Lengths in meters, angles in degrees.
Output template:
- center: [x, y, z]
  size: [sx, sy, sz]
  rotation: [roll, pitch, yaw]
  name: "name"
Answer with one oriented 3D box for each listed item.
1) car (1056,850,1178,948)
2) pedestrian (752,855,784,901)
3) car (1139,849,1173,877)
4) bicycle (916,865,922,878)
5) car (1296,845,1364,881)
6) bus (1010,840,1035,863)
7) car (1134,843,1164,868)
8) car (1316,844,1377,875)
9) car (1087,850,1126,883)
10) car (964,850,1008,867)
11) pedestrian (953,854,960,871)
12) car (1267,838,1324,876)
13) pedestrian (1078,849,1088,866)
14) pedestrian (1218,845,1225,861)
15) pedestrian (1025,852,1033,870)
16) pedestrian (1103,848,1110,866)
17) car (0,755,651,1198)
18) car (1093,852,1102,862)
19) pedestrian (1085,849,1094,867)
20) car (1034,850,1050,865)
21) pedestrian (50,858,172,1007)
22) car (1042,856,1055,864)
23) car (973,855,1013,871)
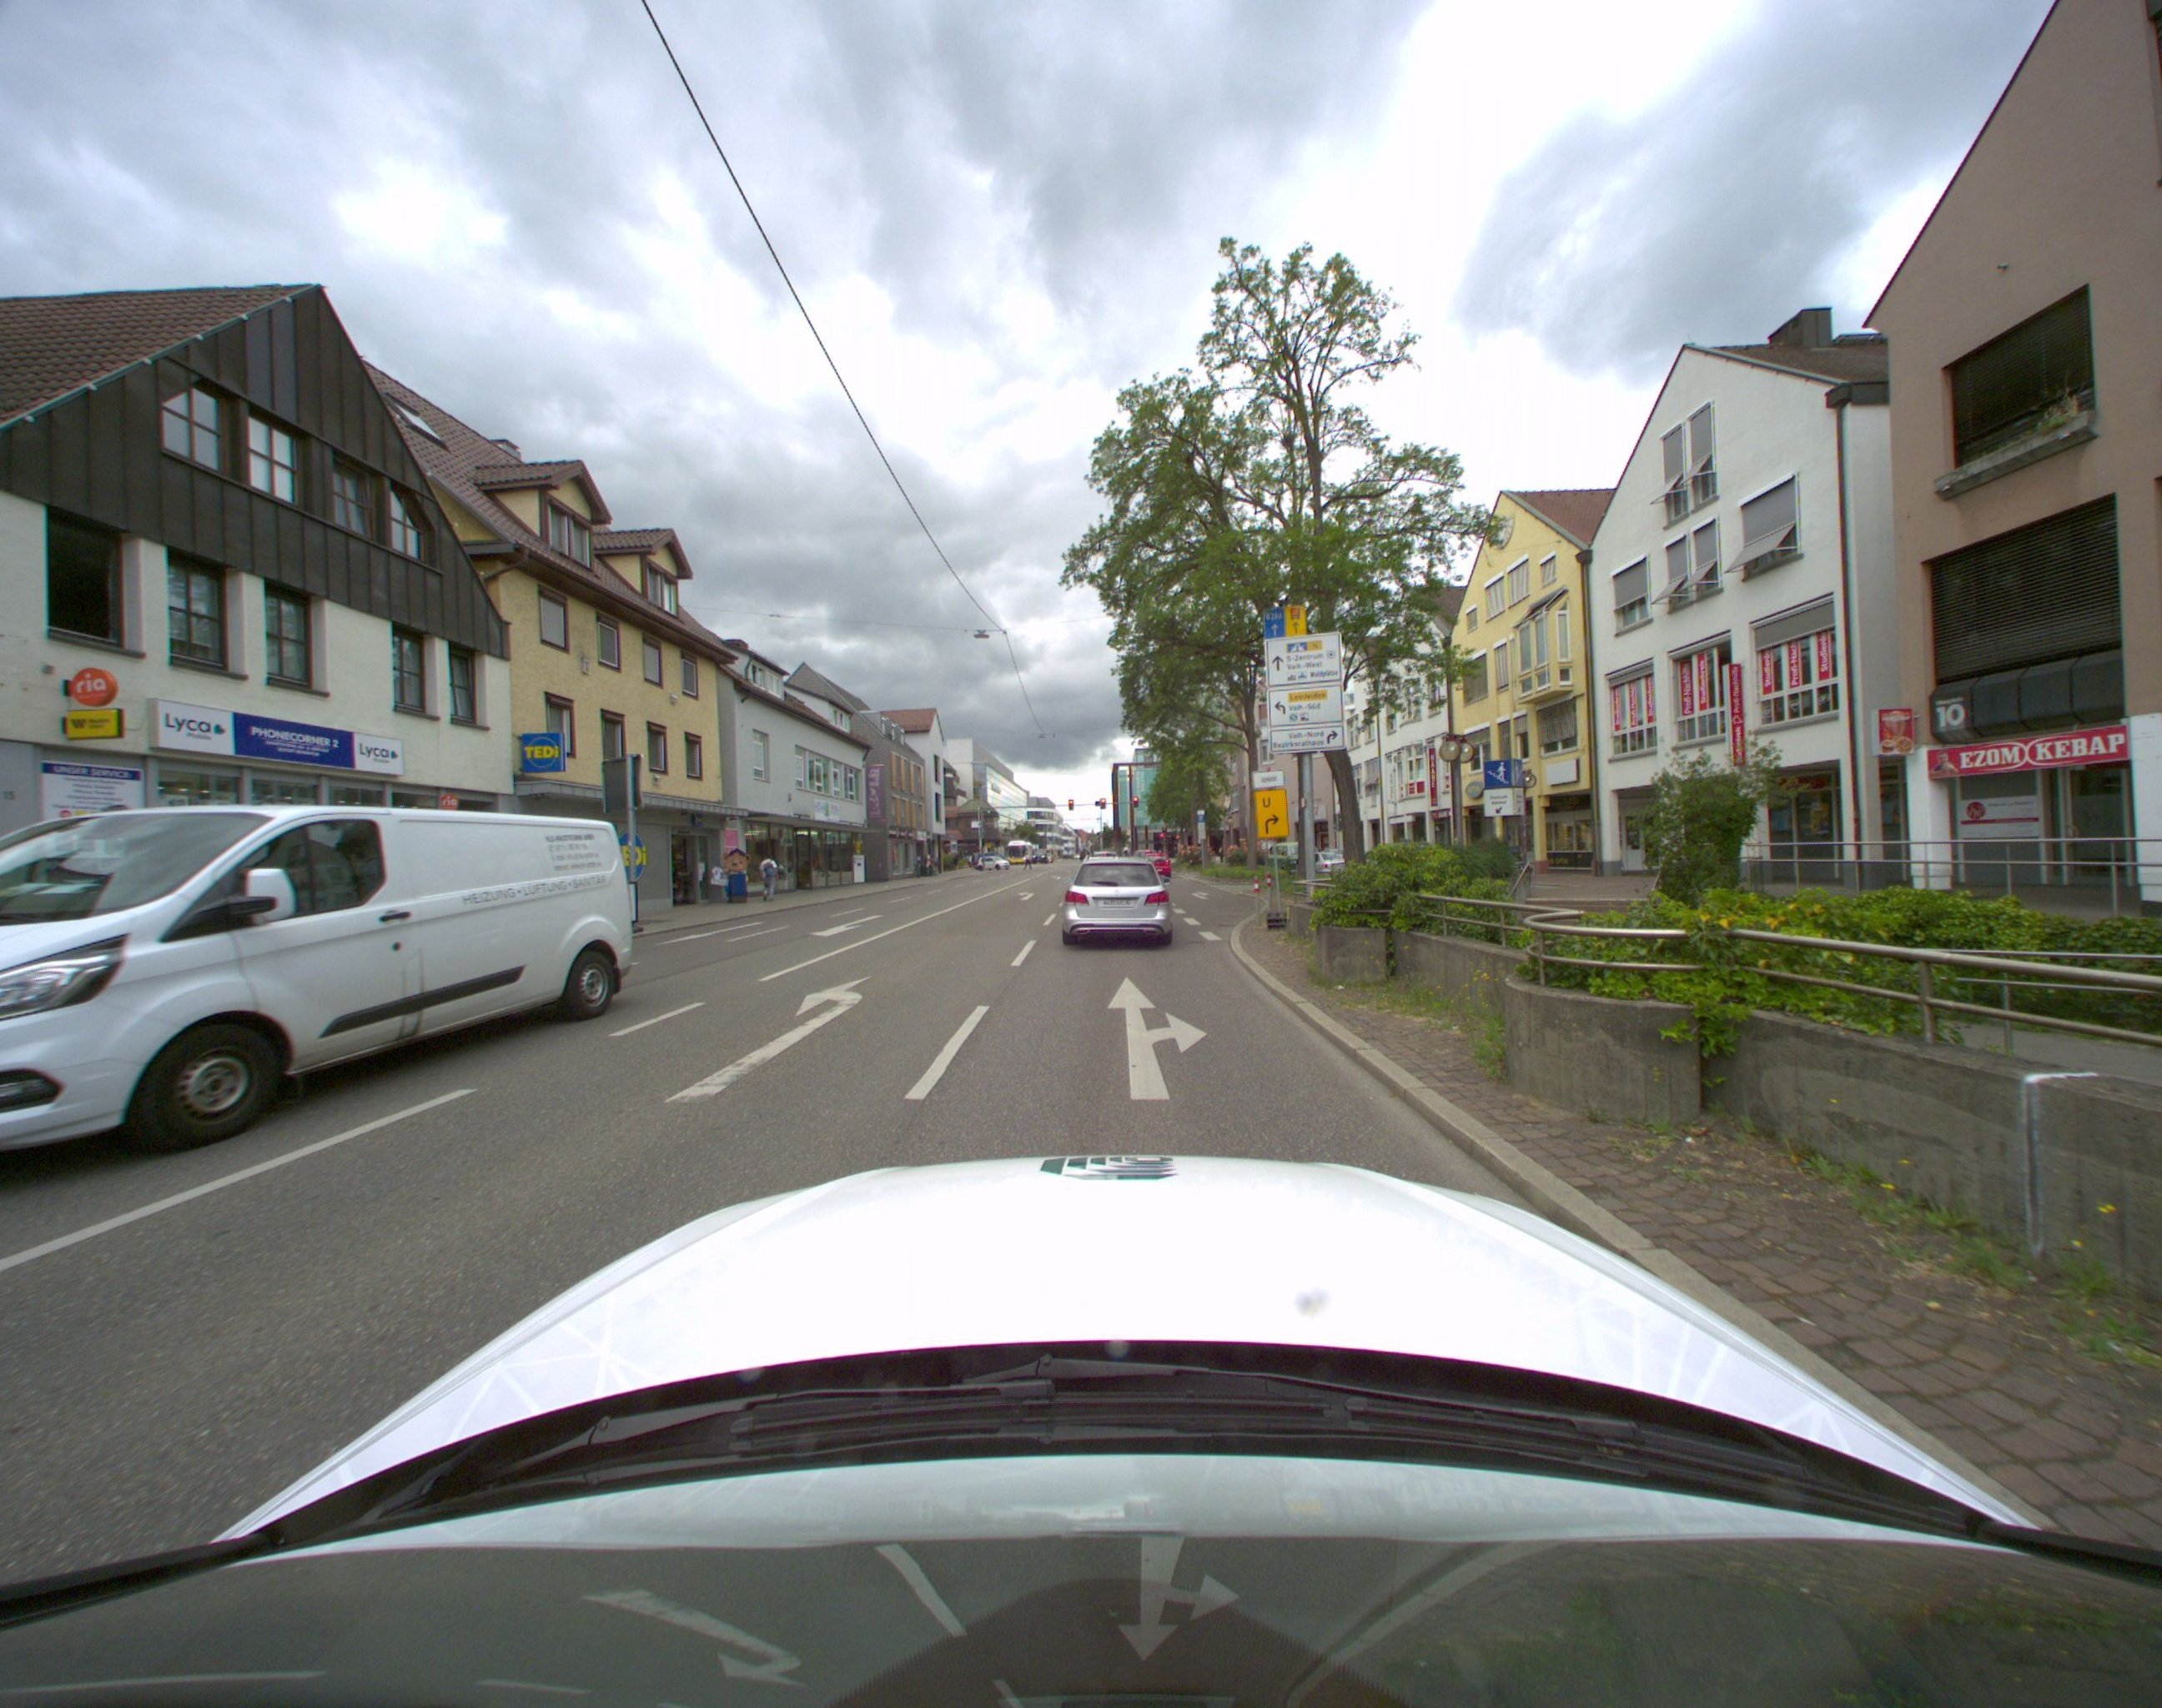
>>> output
- center: [0.550, 0.705, 14.604]
  size: [1.868, 1.506, 3.999]
  rotation: [0, 0, 0]
  name: "car"
- center: [-11.373, 0.867, 29.636]
  size: [0.815, 1.634, 0.979]
  rotation: [0, 0, -4]
  name: "pedestrian"
- center: [4.500, 0.513, 49.192]
  size: [1.748, 1.521, 4.001]
  rotation: [-2, 0, 2]
  name: "car"
- center: [-11.318, 1.224, 56.955]
  size: [0.273, 0.891, 1.225]
  rotation: [-2, 0, -8]
  name: "bicycle"
- center: [11.494, 0.406, 37.924]
  size: [1.861, 1.527, 3.998]
  rotation: [-2, 0, -1]
  name: "car"
- center: [-8.275, -0.361, 115.907]
  size: [2.765, 3.165, 5.935]
  rotation: [-2, 0, 2]
  name: "bus"
- center: [4.973, 0.101, 59.884]
  size: [1.986, 1.684, 4.002]
  rotation: [-2, 0, 2]
  name: "car"
- center: [14.081, 0.277, 43.347]
  size: [1.861, 1.527, 3.998]
  rotation: [-2, 0, -1]
  name: "car"
- center: [1.427, 0.635, 45.361]
  size: [1.986, 1.684, 4.002]
  rotation: [-2, 0, 2]
  name: "car"
- center: [-11.421, 0.528, 98.124]
  size: [4.930, 1.823, 1.985]
  rotation: [-2, 0, -23]
  name: "car"
- center: [-12.339, 0.813, 80.717]
  size: [0.586, 1.670, 0.639]
  rotation: [1, 1, -12]
  name: "pedestrian"
- center: [11.344, 0.171, 43.287]
  size: [1.861, 1.864, 3.999]
  rotation: [-2, 0, -1]
  name: "car"
- center: [0.172, 0.311, 77.280]
  size: [0.854, 1.634, 0.588]
  rotation: [1, 0, 3]
  name: "pedestrian"
- center: [14.833, -0.108, 85.975]
  size: [0.608, 1.634, 0.590]
  rotation: [1, 0, 14]
  name: "pedestrian"
- center: [-4.780, 0.602, 74.923]
  size: [0.612, 1.634, 0.586]
  rotation: [1, 0, -7]
  name: "pedestrian"
- center: [2.372, 0.303, 75.349]
  size: [0.611, 1.634, 0.587]
  rotation: [1, 0, -2]
  name: "pedestrian"
- center: [-5.672, 0.601, 6.176]
  size: [1.955, 1.960, 5.139]
  rotation: [-3, 0, 0]
  name: "car"
- center: [3.743, 0.684, 187.128]
  size: [1.986, 2.013, 4.001]
  rotation: [-2, 0, 1]
  name: "car"
- center: [0.800, 0.396, 76.737]
  size: [0.831, 1.634, 0.587]
  rotation: [1, 0, -2]
  name: "pedestrian"
- center: [-5.470, 0.426, 114.649]
  size: [1.986, 2.013, 4.002]
  rotation: [-2, 0, 2]
  name: "car"
- center: [-12.134, 0.933, 10.198]
  size: [0.859, 1.746, 0.811]
  rotation: [1, 0, 28]
  name: "pedestrian"
- center: [-4.923, 0.909, 124.017]
  size: [1.569, 1.244, 3.608]
  rotation: [-2, 0, 2]
  name: "car"
- center: [-9.270, 0.945, 85.825]
  size: [3.949, 1.530, 1.677]
  rotation: [-2, 0, 28]
  name: "car"
